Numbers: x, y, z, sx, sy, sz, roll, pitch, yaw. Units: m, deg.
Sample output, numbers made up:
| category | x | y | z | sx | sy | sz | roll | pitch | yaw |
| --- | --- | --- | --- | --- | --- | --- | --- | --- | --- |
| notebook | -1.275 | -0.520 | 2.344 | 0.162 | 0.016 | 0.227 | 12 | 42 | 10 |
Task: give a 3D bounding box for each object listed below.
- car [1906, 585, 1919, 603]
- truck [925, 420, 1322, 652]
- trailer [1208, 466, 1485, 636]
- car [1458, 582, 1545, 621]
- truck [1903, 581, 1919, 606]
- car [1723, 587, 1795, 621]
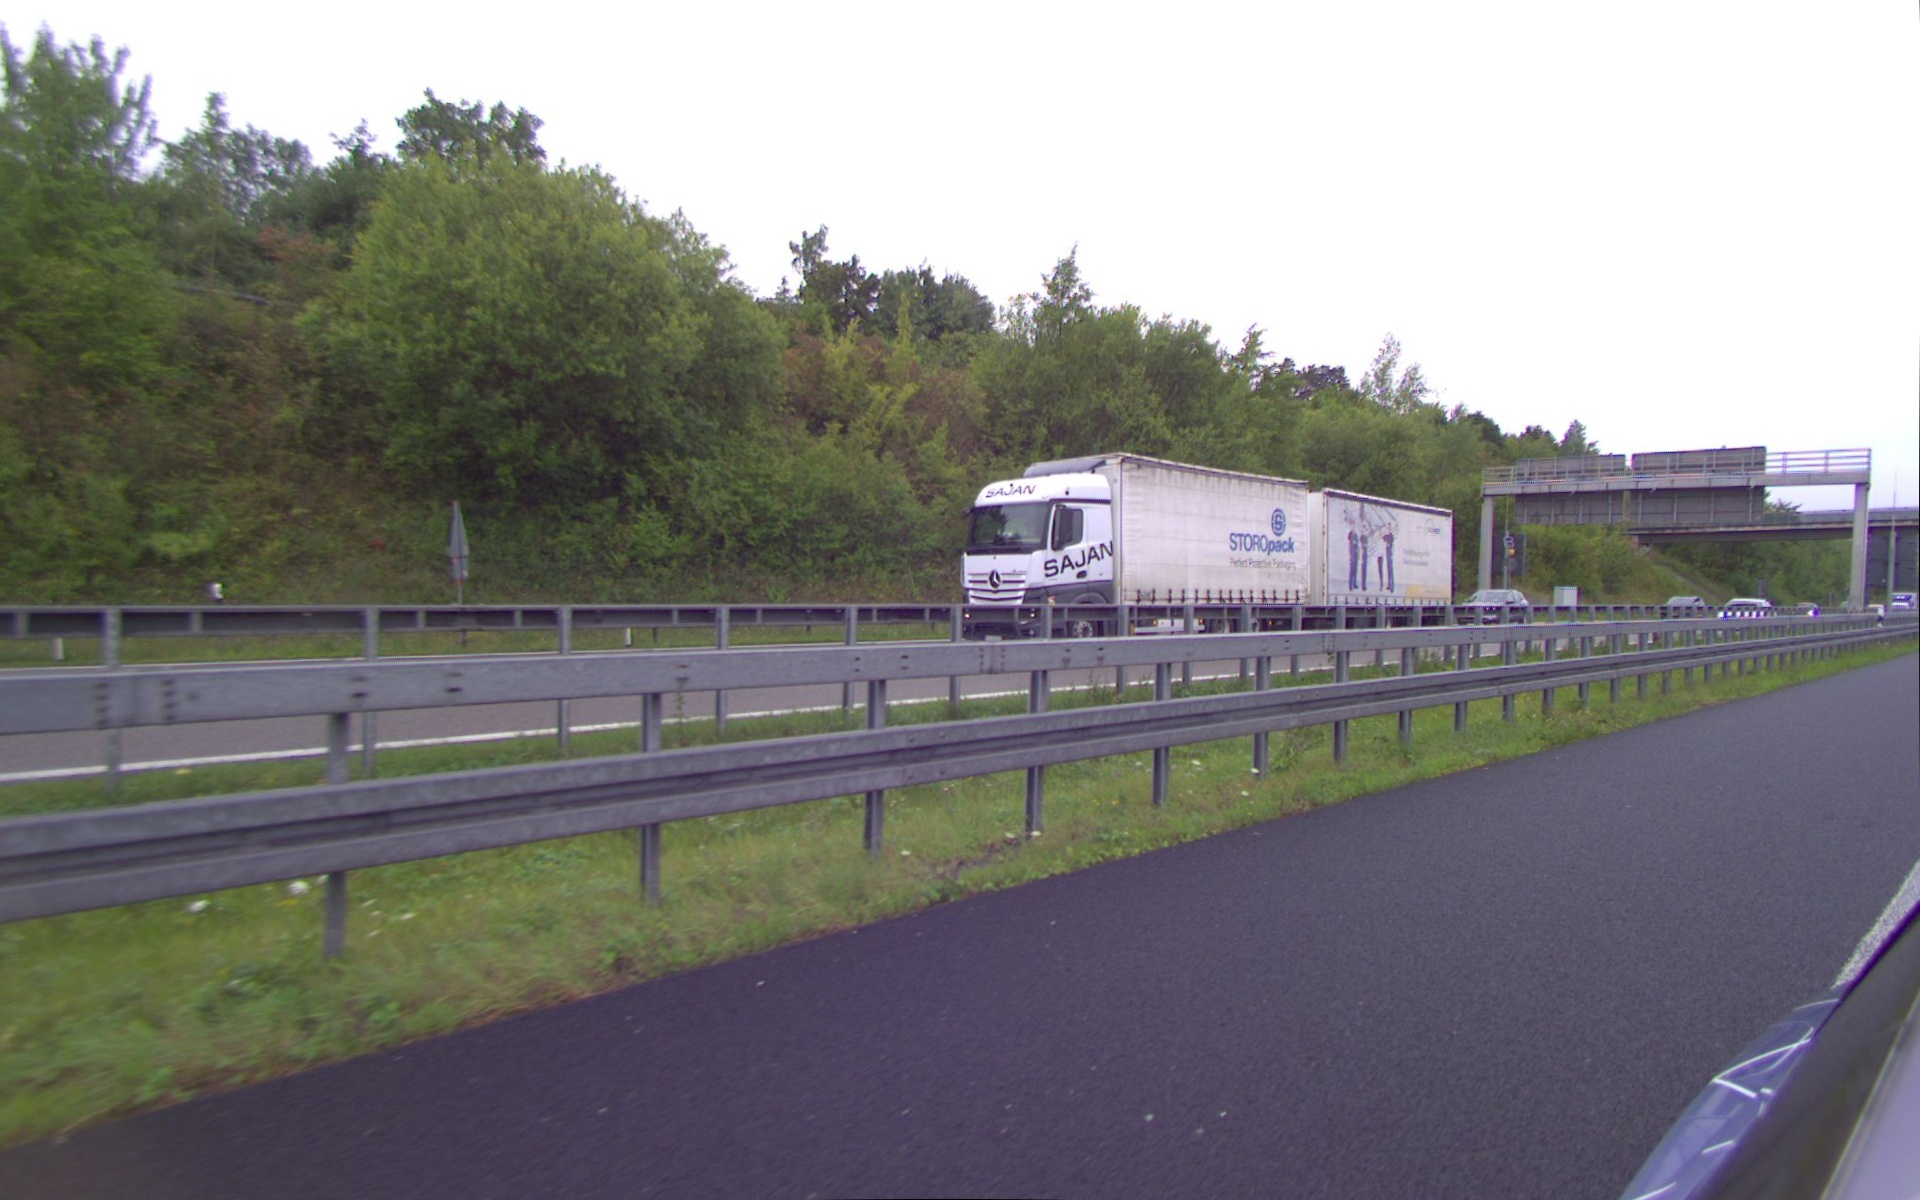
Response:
| category | x | y | z | sx | sy | sz | roll | pitch | yaw |
| --- | --- | --- | --- | --- | --- | --- | --- | --- | --- |
| car | 96.339 | -0.598 | 101.350 | 4.567 | 1.827 | 1.863 | 0 | 1 | -41 |
| truck | 4.230 | -1.242 | 23.635 | 10.237 | 4.343 | 3.443 | 0 | 1 | -42 |
| trailer | 11.942 | -1.300 | 30.503 | 10.272 | 4.343 | 3.443 | 0 | 1 | -42 |
| car | 23.868 | 0.038 | 44.543 | 4.419 | 1.634 | 1.864 | 0 | 1 | -40 |
| truck | 139.198 | -0.992 | 146.938 | 9.129 | 3.460 | 2.904 | -1 | 1 | -44 |
| car | 36.426 | 0.148 | 46.086 | 4.085 | 1.465 | 1.863 | -1 | 1 | -41 |
